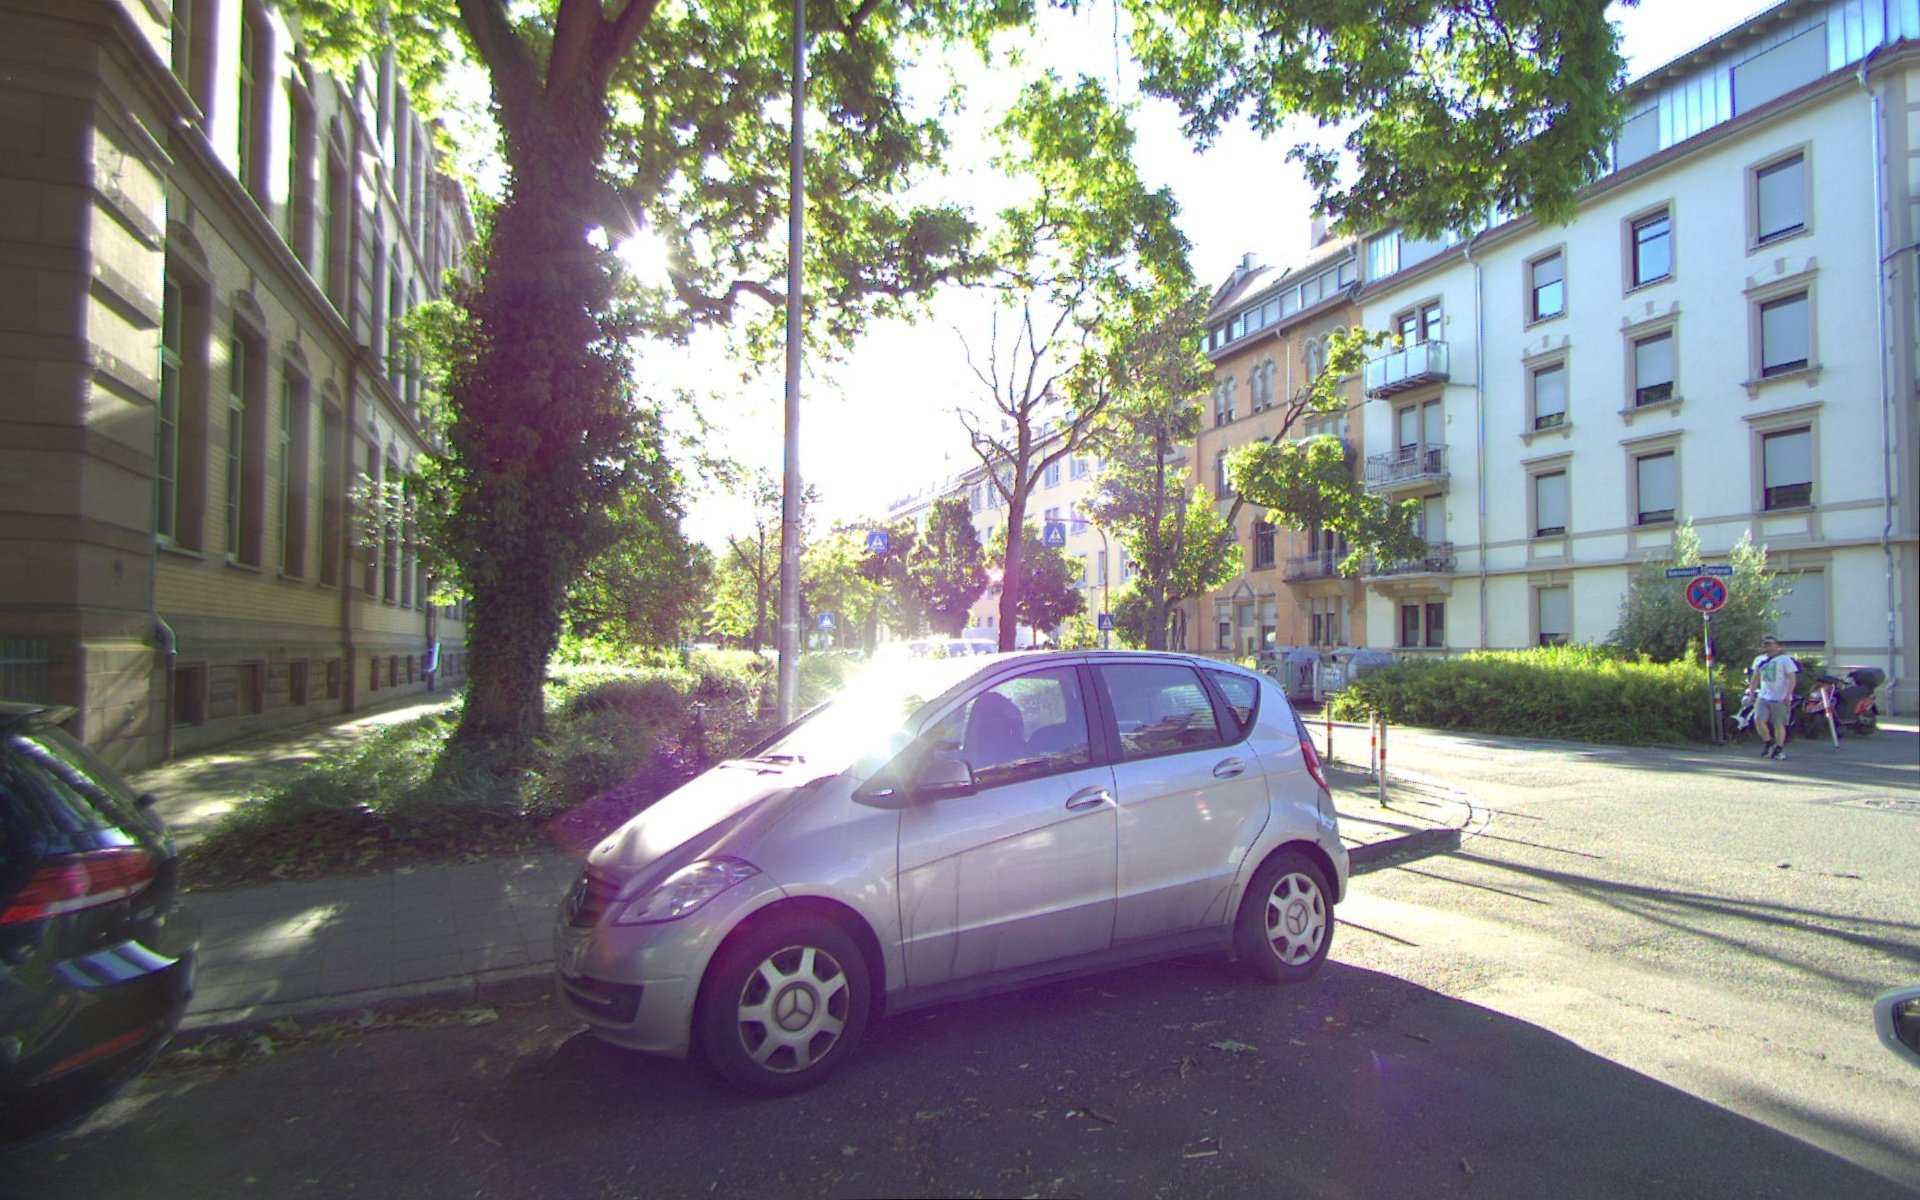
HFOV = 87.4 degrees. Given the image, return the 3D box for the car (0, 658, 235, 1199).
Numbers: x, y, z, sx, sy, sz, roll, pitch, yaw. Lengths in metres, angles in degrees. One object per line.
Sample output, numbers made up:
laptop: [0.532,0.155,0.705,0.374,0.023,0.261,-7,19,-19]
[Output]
car: [-4.127,0.894,2.277,3.963,1.482,1.571,4,-8,-37]

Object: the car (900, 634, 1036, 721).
car: [0.095,2.010,26.752,1.971,2.040,4.628,-1,-3,-22]

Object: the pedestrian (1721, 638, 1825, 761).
pedestrian: [12.170,1.459,15.046,0.992,1.768,0.801,1,-3,-24]

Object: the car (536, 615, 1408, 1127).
car: [0.162,0.989,4.896,3.907,1.578,1.699,2,-7,-31]

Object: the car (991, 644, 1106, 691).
car: [4.019,3.058,45.707,4.835,2.040,1.992,1,-4,-20]

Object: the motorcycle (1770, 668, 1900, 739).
motorcycle: [15.547,1.841,17.858,2.008,1.212,0.612,1,-3,-11]

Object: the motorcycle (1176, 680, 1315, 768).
motorcycle: [3.883,1.662,13.662,1.867,1.116,0.542,1,-3,-21]

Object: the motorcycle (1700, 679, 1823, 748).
motorcycle: [13.512,1.898,16.933,1.839,1.104,0.639,2,-3,-15]

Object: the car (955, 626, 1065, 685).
car: [2.403,2.664,48.105,4.839,2.740,2.125,1,-4,-23]

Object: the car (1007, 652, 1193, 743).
car: [2.633,1.835,19.936,1.858,1.595,4.124,1,-3,-22]
